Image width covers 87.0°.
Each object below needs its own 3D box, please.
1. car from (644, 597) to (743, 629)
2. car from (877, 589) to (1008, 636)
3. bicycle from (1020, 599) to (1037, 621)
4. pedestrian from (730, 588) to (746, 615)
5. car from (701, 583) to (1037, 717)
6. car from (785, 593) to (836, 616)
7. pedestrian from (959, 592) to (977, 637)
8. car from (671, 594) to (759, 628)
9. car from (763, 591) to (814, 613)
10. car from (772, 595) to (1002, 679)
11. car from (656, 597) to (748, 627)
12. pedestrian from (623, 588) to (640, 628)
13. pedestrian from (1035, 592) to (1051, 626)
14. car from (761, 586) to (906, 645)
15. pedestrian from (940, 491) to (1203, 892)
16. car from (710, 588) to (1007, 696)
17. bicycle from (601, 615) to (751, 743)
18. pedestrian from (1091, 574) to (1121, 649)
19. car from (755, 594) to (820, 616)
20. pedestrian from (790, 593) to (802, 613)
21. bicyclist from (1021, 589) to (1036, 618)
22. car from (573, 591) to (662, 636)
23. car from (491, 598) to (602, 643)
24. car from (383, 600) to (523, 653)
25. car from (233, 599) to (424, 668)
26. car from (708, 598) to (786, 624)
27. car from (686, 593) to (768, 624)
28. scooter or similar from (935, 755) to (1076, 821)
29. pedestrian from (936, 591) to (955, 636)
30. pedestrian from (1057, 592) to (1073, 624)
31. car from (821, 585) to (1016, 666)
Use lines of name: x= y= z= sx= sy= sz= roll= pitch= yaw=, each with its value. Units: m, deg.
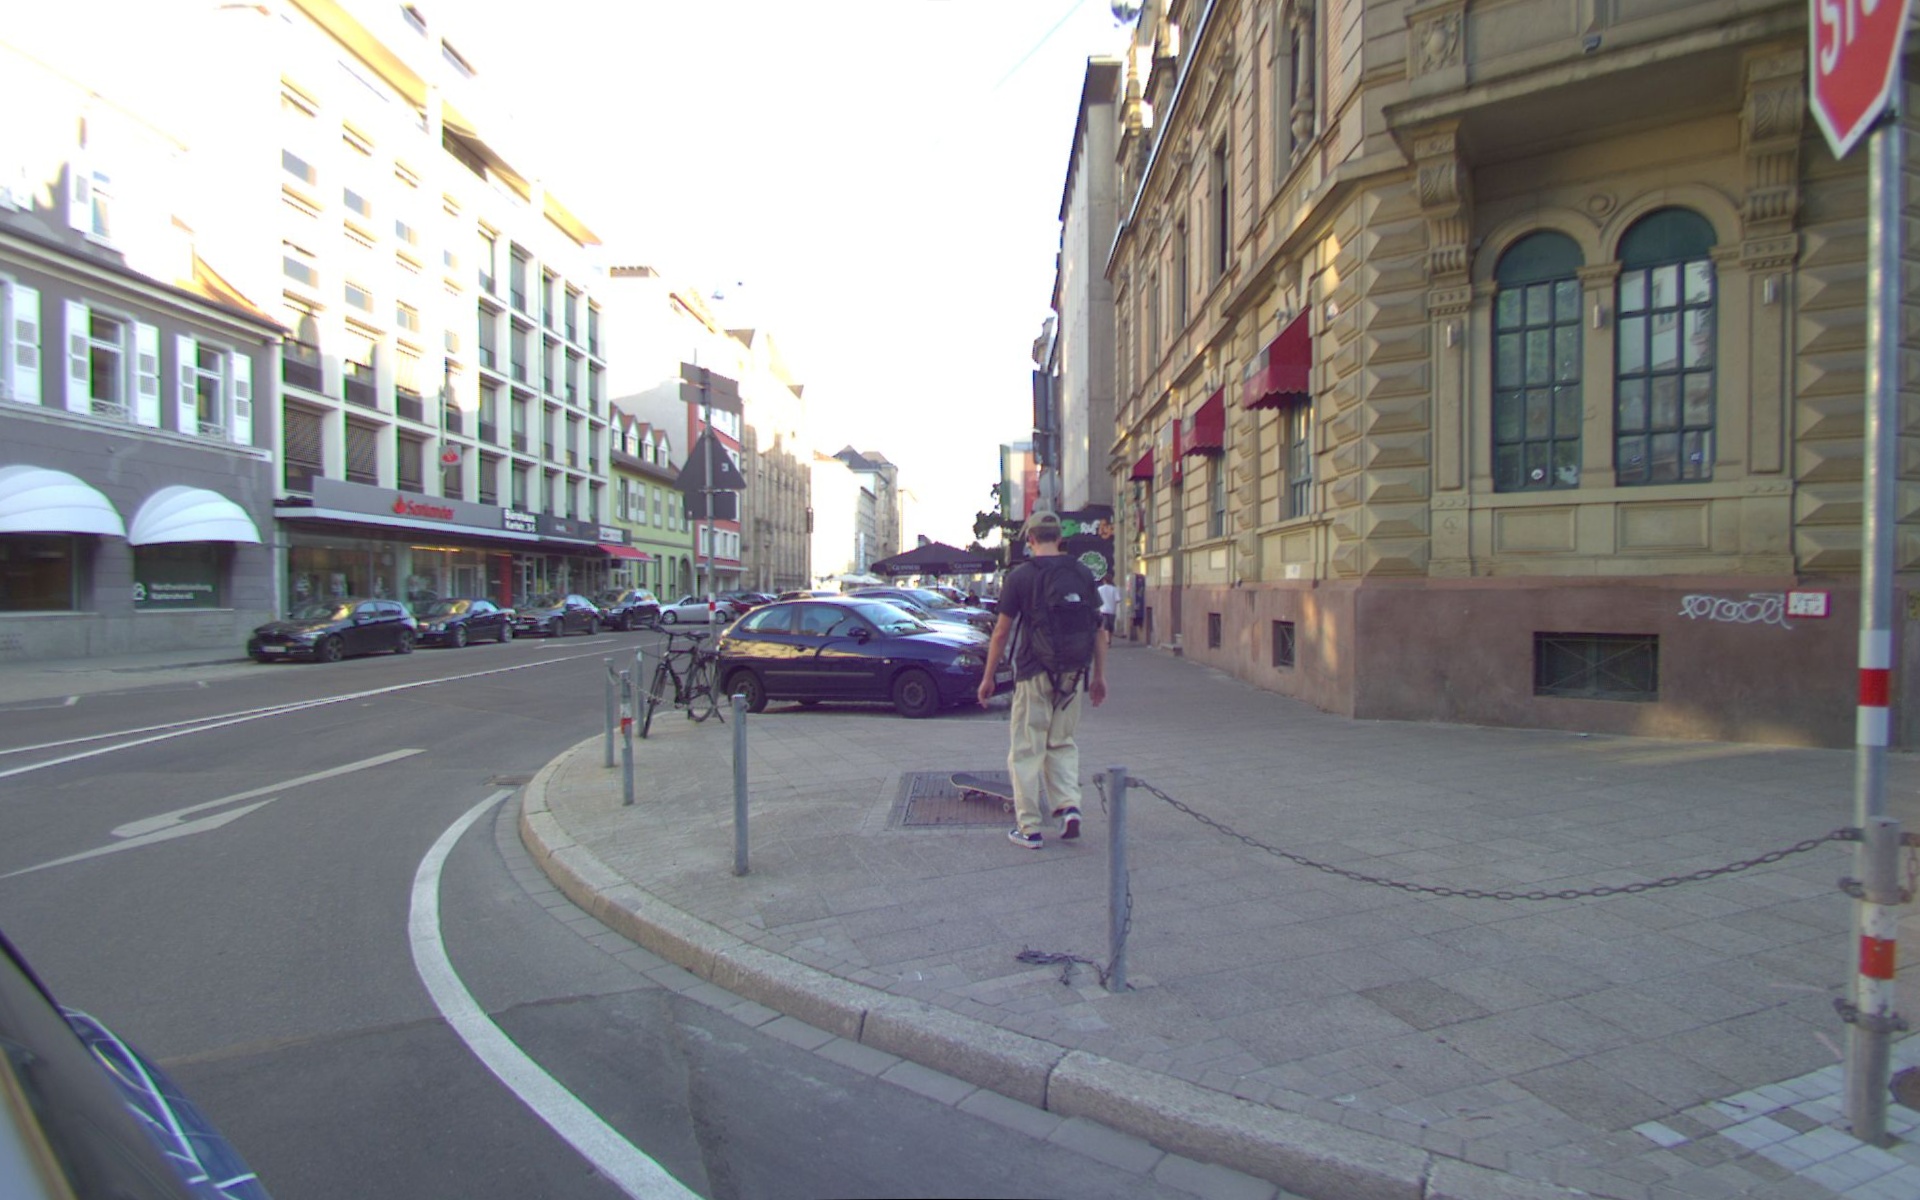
car: x=-12.592 y=0.594 z=47.891 sx=4.159 sy=1.450 sz=1.758 roll=0 pitch=0 yaw=-37
car: x=-0.701 y=0.460 z=39.009 sx=4.822 sy=1.746 sz=1.889 roll=0 pitch=0 yaw=30
bicycle: x=3.713 y=0.547 z=54.925 sx=0.757 sy=1.123 sz=2.177 roll=-1 pitch=1 yaw=1
pedestrian: x=-15.817 y=0.113 z=72.106 sx=0.840 sy=1.958 sz=1.010 roll=0 pitch=0 yaw=7
car: x=-1.162 y=0.639 z=12.746 sx=3.843 sy=1.472 sz=1.725 roll=-3 pitch=-1 yaw=27
car: x=-11.946 y=0.371 z=80.795 sx=3.771 sy=1.766 sz=1.760 roll=0 pitch=0 yaw=-22
pedestrian: x=0.269 y=0.460 z=32.670 sx=0.569 sy=1.427 sz=0.675 roll=0 pitch=0 yaw=2
car: x=-12.890 y=0.543 z=53.330 sx=4.156 sy=1.689 sz=1.759 roll=0 pitch=0 yaw=-32
car: x=-15.271 y=0.195 z=90.131 sx=4.155 sy=1.896 sz=1.760 roll=0 pitch=0 yaw=-22
car: x=-1.444 y=0.653 z=19.634 sx=4.232 sy=1.458 sz=1.694 roll=0 pitch=0 yaw=28
car: x=-12.889 y=0.569 z=50.634 sx=4.156 sy=1.450 sz=1.759 roll=0 pitch=0 yaw=-32
pedestrian: x=-15.851 y=0.374 z=48.814 sx=0.604 sy=1.901 sz=0.719 roll=0 pitch=0 yaw=1
pedestrian: x=3.098 y=0.324 z=37.885 sx=0.569 sy=1.254 sz=0.675 roll=0 pitch=0 yaw=2
car: x=-3.873 y=0.474 z=31.001 sx=4.027 sy=1.641 sz=1.838 roll=-2 pitch=0 yaw=24
pedestrian: x=0.508 y=0.376 z=5.138 sx=0.836 sy=1.752 sz=1.271 roll=-2 pitch=2 yaw=-18
car: x=-1.704 y=0.657 z=16.314 sx=4.611 sy=1.523 sz=1.751 roll=-2 pitch=0 yaw=31
bicycle: x=-2.854 y=0.758 z=10.391 sx=0.720 sy=1.134 sz=1.798 roll=-3 pitch=0 yaw=11
pedestrian: x=3.268 y=0.253 z=22.628 sx=0.571 sy=1.621 sz=0.521 roll=-2 pitch=0 yaw=3
car: x=-12.055 y=0.334 z=70.850 sx=4.155 sy=1.484 sz=1.760 roll=0 pitch=0 yaw=-27
pedestrian: x=-14.563 y=0.247 z=89.862 sx=0.840 sy=1.813 sz=1.010 roll=0 pitch=0 yaw=7
bicyclist: x=3.705 y=0.200 z=54.854 sx=0.757 sy=1.571 sz=0.812 roll=-1 pitch=-2 yaw=2
car: x=-13.431 y=0.485 z=39.933 sx=1.810 sy=1.671 sz=4.357 roll=0 pitch=0 yaw=4
car: x=-14.072 y=0.657 z=34.738 sx=1.725 sy=1.457 sz=4.554 roll=0 pitch=0 yaw=3
car: x=-14.413 y=0.703 z=29.064 sx=1.724 sy=1.398 sz=4.500 roll=0 pitch=0 yaw=1
car: x=-14.549 y=0.718 z=23.628 sx=1.724 sy=1.458 sz=4.247 roll=0 pitch=0 yaw=2
car: x=-12.379 y=0.618 z=58.874 sx=4.155 sy=1.484 sz=1.760 roll=0 pitch=0 yaw=-27
car: x=-12.896 y=0.455 z=56.042 sx=4.155 sy=1.629 sz=1.760 roll=0 pitch=0 yaw=-27
scooter or similar: x=0.258 y=1.128 z=6.153 sx=0.411 sy=0.208 sz=0.884 roll=-2 pitch=1 yaw=-33
pedestrian: x=-0.460 y=0.442 z=32.718 sx=0.569 sy=1.427 sz=0.675 roll=0 pitch=0 yaw=2
pedestrian: x=4.076 y=0.317 z=39.392 sx=0.569 sy=1.254 sz=0.675 roll=0 pitch=0 yaw=2
car: x=-0.941 y=0.520 z=22.669 sx=4.032 sy=1.669 sz=1.776 roll=0 pitch=0 yaw=28
